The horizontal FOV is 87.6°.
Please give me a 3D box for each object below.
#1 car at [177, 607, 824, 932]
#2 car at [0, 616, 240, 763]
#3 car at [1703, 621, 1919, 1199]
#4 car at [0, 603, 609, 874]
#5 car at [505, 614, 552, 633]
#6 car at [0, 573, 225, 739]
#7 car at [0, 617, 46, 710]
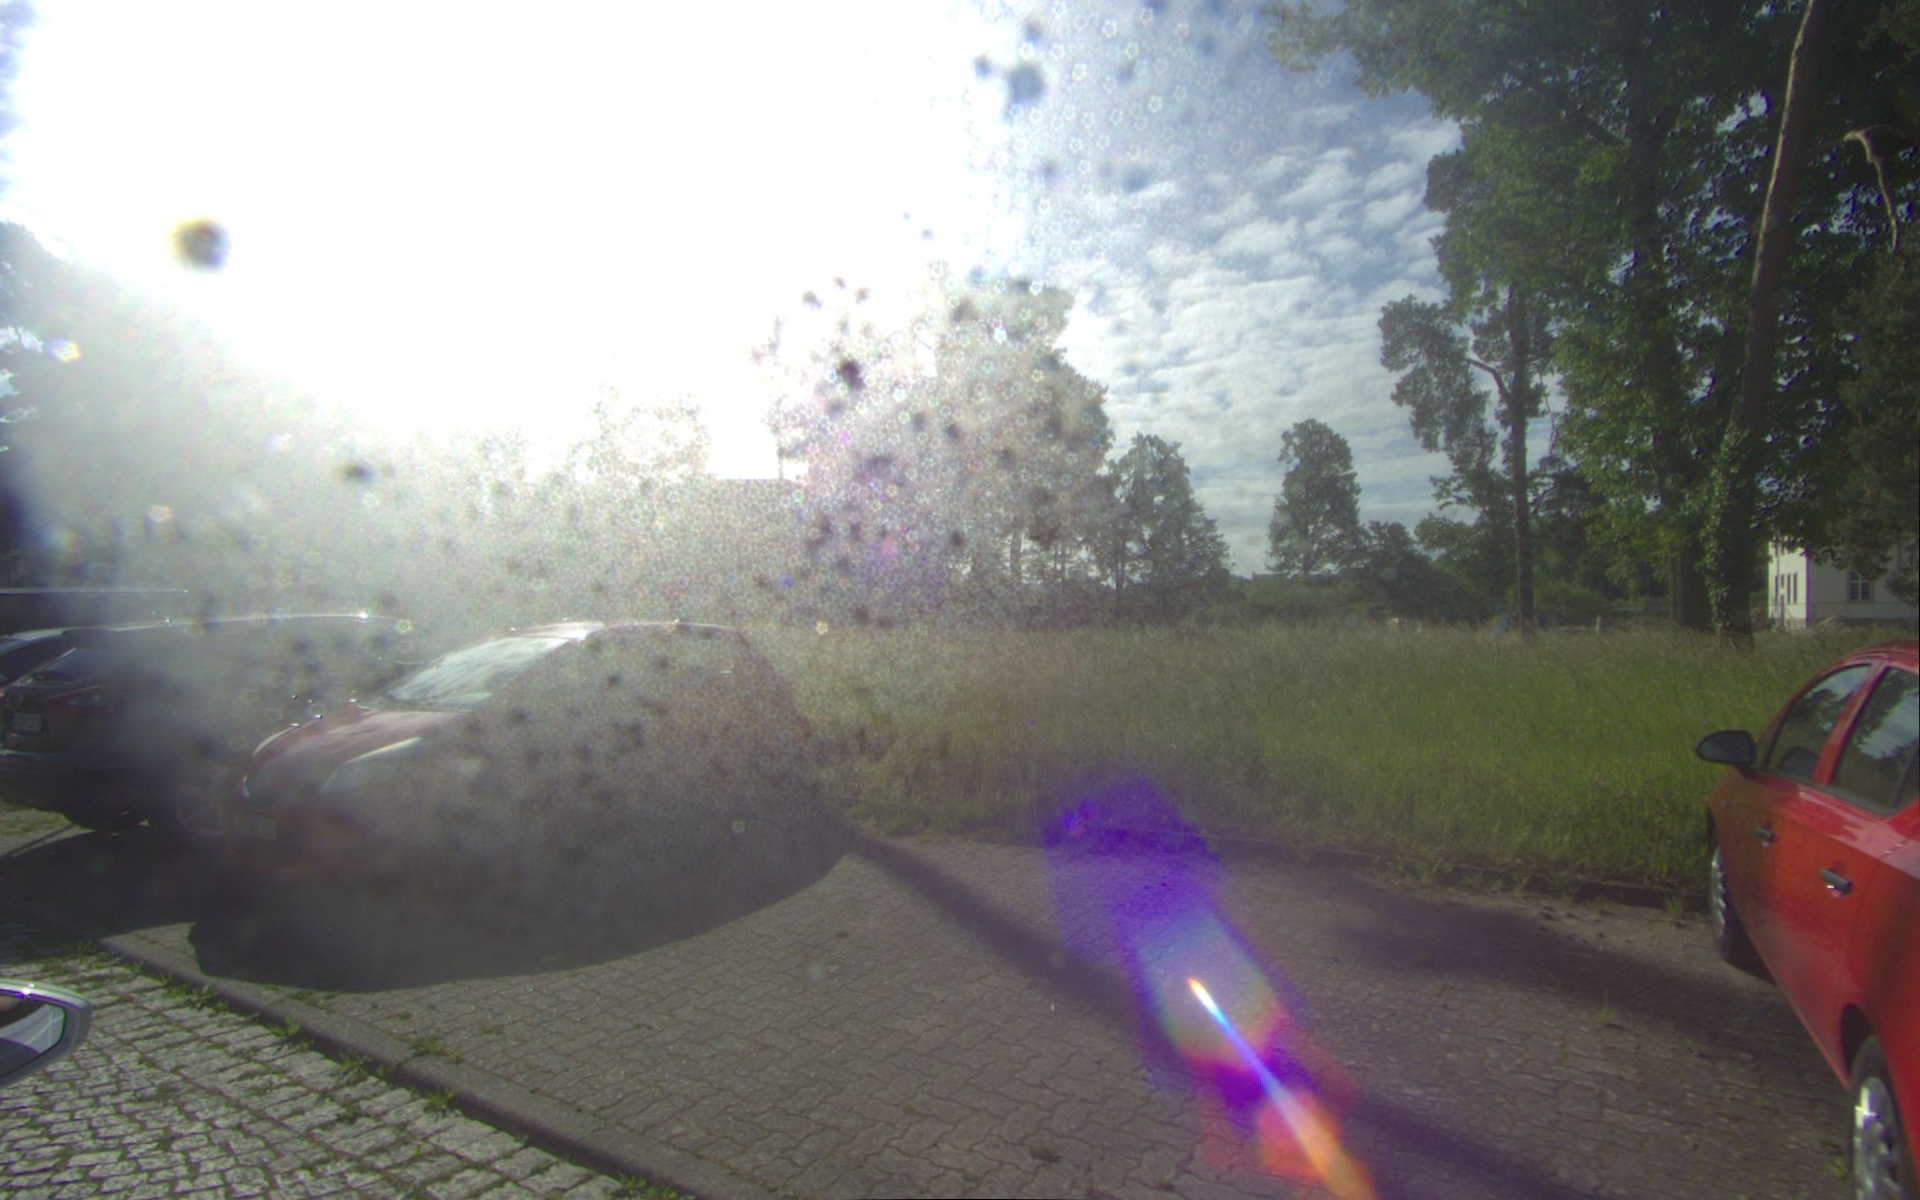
[{"bbox_3d":[-2.828,0.854,6.992,1.679,1.559,3.817,0,0,32],"label":"car"},{"bbox_3d":[-10.617,0.979,11.293,1.585,1.486,3.714,0,1,30],"label":"car"},{"bbox_3d":[3.393,0.823,2.985,1.518,1.515,3.981,0,-1,31],"label":"car"},{"bbox_3d":[-5.149,0.851,8.256,1.760,1.632,4.101,0,0,30],"label":"car"},{"bbox_3d":[-39.854,2.176,92.588,1.743,1.693,3.626,0,-1,34],"label":"car"},{"bbox_3d":[-12.671,0.701,12.893,1.971,2.041,4.743,0,1,32],"label":"car"},{"bbox_3d":[-17.000,1.042,15.720,1.611,1.511,3.638,0,0,32],"label":"car"}]
